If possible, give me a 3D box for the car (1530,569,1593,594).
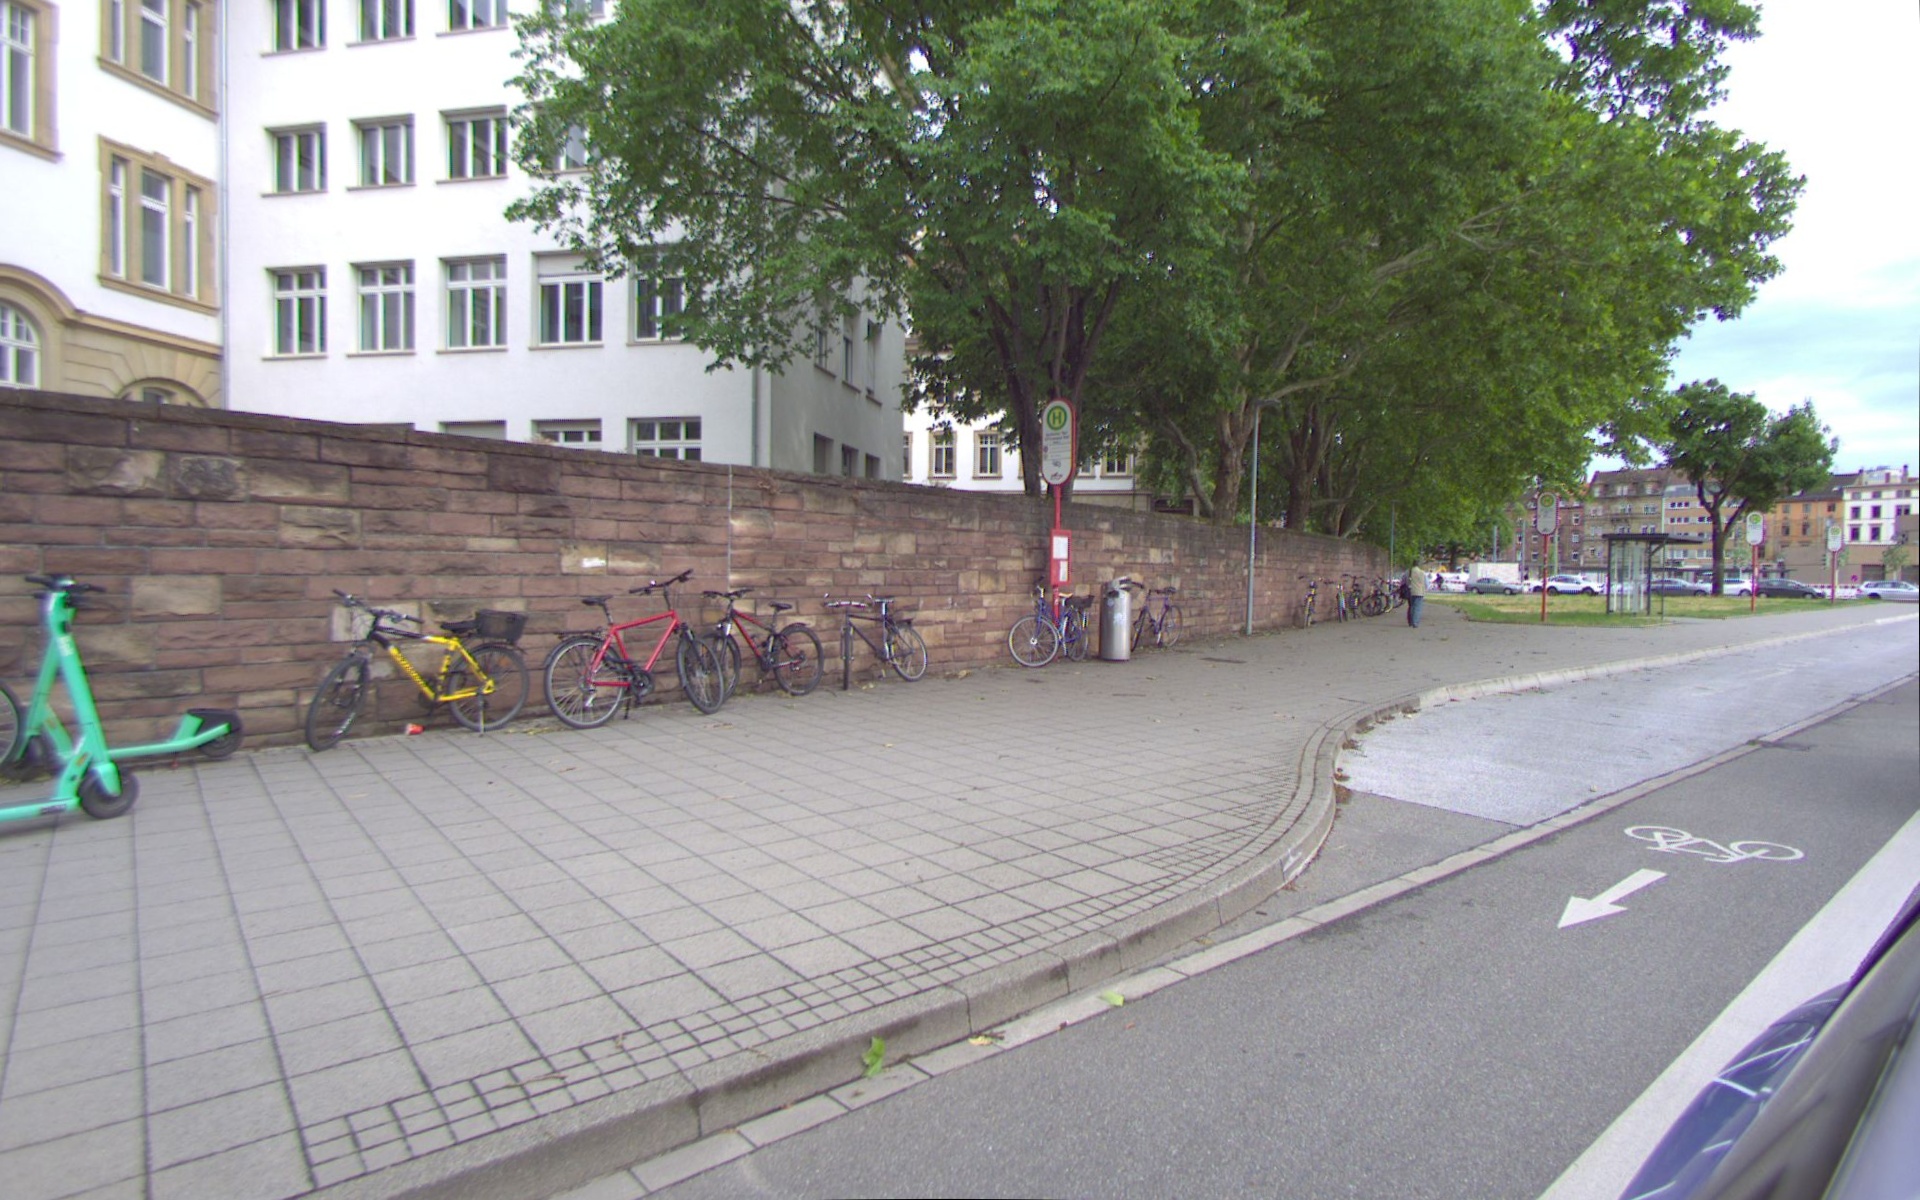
[{"bbox_3d":[51.131,-1.563,86.114,4.272,2.039,1.968,0,1,45],"label":"car"}]

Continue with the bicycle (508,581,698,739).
[{"bbox_3d":[-2.891,0.426,8.414,0.381,1.158,1.930,-1,0,18],"label":"bicycle"}]

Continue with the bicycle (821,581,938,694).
[{"bbox_3d":[-0.858,0.373,11.195,0.336,1.158,1.658,-1,0,33],"label":"bicycle"}]

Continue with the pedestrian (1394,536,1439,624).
[{"bbox_3d":[11.009,-0.493,24.388,0.778,2.037,0.879,4,4,32],"label":"pedestrian"}]

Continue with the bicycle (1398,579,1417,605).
[{"bbox_3d":[19.415,-0.350,43.909,0.686,1.098,1.639,2,2,26],"label":"bicycle"}]

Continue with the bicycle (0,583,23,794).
[{"bbox_3d":[-5.840,0.498,4.879,0.383,1.158,1.922,-1,0,29],"label":"bicycle"}]

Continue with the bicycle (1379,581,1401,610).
[{"bbox_3d":[14.958,-0.176,35.186,0.563,0.951,1.752,2,2,26],"label":"bicycle"}]

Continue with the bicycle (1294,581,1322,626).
[{"bbox_3d":[7.829,0.052,22.736,0.361,0.951,1.626,2,2,27],"label":"bicycle"}]

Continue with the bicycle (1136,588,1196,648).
[{"bbox_3d":[3.342,0.268,16.344,0.290,0.896,1.590,2,2,36],"label":"bicycle"}]

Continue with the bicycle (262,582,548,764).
[{"bbox_3d":[-3.931,0.449,7.365,0.383,1.158,1.922,-1,0,29],"label":"bicycle"}]

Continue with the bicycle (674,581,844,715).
[{"bbox_3d":[-1.852,0.401,9.640,0.336,1.158,1.919,-1,0,33],"label":"bicycle"}]

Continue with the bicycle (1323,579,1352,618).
[{"bbox_3d":[9.813,-0.046,26.262,0.477,0.951,1.882,2,2,27],"label":"bicycle"}]

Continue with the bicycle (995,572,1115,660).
[{"bbox_3d":[1.318,0.178,13.664,0.476,1.089,2.051,2,2,42],"label":"bicycle"}]

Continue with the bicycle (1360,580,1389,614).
[{"bbox_3d":[12.541,-0.109,30.583,0.648,0.951,1.939,2,2,27],"label":"bicycle"}]
